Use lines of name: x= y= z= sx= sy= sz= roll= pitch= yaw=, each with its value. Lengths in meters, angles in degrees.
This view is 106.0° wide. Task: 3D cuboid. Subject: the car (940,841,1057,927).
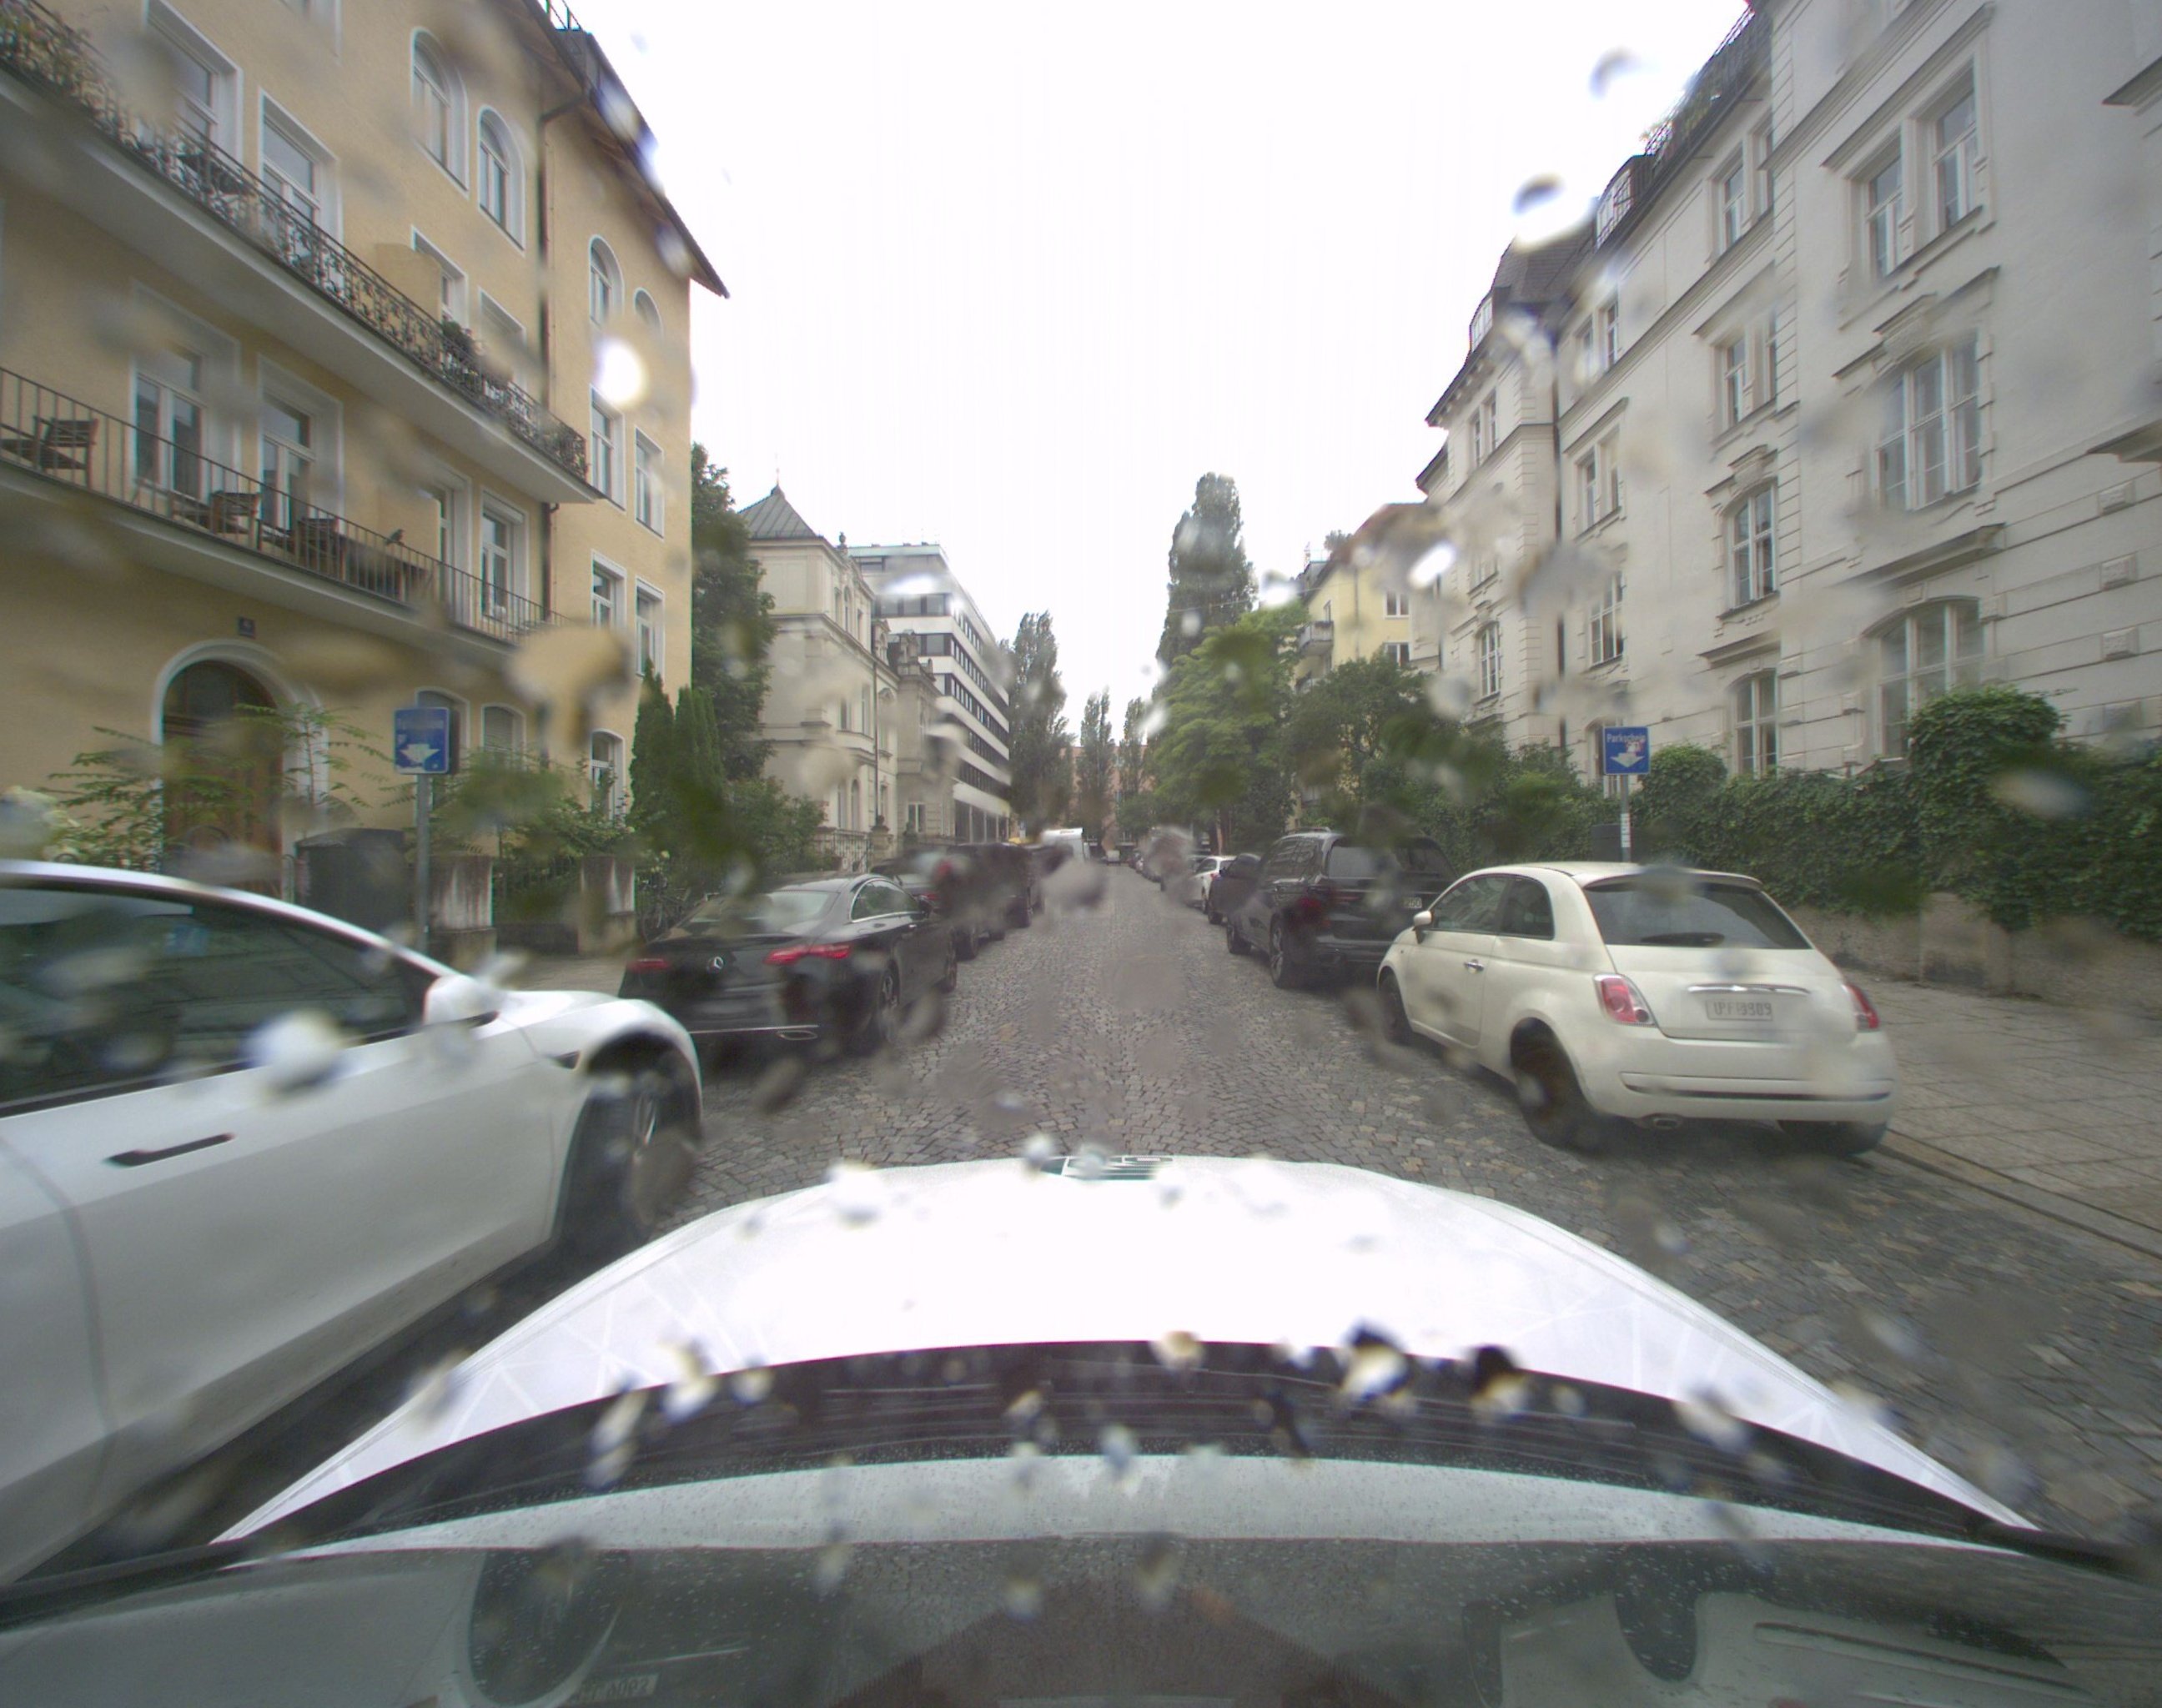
car: x=-1.752 y=0.604 z=18.894 sx=1.974 sy=1.737 sz=4.726 roll=0 pitch=0 yaw=3

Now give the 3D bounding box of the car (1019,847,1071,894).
car: x=-1.360 y=0.637 z=32.191 sx=1.767 sy=1.718 sz=4.392 roll=0 pitch=-1 yaw=1

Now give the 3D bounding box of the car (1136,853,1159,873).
car: x=5.053 y=0.669 z=62.357 sx=1.594 sy=1.486 sz=3.480 roll=0 pitch=-1 yaw=1

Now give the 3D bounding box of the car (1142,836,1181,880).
car: x=4.866 y=0.196 z=50.026 sx=1.888 sy=2.426 sz=5.613 roll=3 pitch=0 yaw=1

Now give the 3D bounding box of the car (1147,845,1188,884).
car: x=4.654 y=0.567 z=44.271 sx=1.793 sy=1.949 sz=4.861 roll=2 pitch=0 yaw=1

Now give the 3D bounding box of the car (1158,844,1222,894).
car: x=4.089 y=0.561 z=31.308 sx=1.956 sy=1.759 sz=4.955 roll=0 pitch=-1 yaw=1

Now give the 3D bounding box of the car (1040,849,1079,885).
car: x=-1.066 y=0.636 z=42.656 sx=1.887 sy=1.751 sz=4.168 roll=-1 pitch=0 yaw=0

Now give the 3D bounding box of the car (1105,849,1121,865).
car: x=4.174 y=0.381 z=104.855 sx=1.988 sy=1.936 sz=4.003 roll=0 pitch=-1 yaw=3

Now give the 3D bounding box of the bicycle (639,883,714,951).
bicycle: x=-6.540 y=0.992 z=13.233 sx=0.350 sy=1.003 sz=1.574 roll=0 pitch=-1 yaw=3

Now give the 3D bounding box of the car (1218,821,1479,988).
car: x=3.142 y=0.530 z=10.924 sx=1.868 sy=1.673 sz=5.493 roll=0 pitch=-1 yaw=2

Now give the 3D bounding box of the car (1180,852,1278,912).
car: x=3.850 y=0.693 z=21.904 sx=1.769 sy=1.429 sz=4.388 roll=0 pitch=-1 yaw=-1

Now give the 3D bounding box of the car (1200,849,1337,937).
car: x=3.581 y=0.699 z=16.310 sx=1.703 sy=1.482 sz=4.248 roll=2 pitch=0 yaw=0

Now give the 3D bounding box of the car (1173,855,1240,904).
car: x=4.027 y=0.785 z=26.667 sx=1.677 sy=1.453 sz=3.967 roll=1 pitch=0 yaw=1

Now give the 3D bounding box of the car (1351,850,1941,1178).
car: x=3.236 y=0.756 z=5.625 sx=1.624 sy=1.469 sz=3.660 roll=2 pitch=0 yaw=2

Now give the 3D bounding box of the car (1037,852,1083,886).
car: x=-0.925 y=0.674 z=37.503 sx=1.933 sy=1.459 sz=4.058 roll=0 pitch=-1 yaw=1

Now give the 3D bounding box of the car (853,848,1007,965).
car: x=-2.318 y=0.767 z=13.506 sx=1.573 sy=1.590 sz=4.058 roll=-2 pitch=-1 yaw=2

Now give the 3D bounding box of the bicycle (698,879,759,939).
bicycle: x=-6.423 y=0.985 z=14.905 sx=0.350 sy=1.003 sz=1.574 roll=0 pitch=-1 yaw=3

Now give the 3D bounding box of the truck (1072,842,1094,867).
truck: x=0.193 y=0.066 z=77.603 sx=1.986 sy=2.347 sz=4.070 roll=0 pitch=-1 yaw=2

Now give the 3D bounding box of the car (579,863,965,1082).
car: x=-2.363 y=0.809 z=7.585 sx=1.767 sy=1.429 sz=4.393 roll=0 pitch=-1 yaw=2

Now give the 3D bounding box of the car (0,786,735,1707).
car: x=-2.657 y=0.715 z=1.730 sx=1.766 sy=1.647 sz=4.394 roll=0 pitch=-1 yaw=3

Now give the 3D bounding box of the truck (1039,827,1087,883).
truck: x=-1.004 y=0.022 z=48.754 sx=2.499 sy=3.031 sz=6.386 roll=-2 pitch=0 yaw=1

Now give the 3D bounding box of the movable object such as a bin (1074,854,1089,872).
movable object such as a bin: x=0.052 y=0.711 z=62.440 sx=1.060 sy=1.363 sz=1.290 roll=0 pitch=-1 yaw=2
